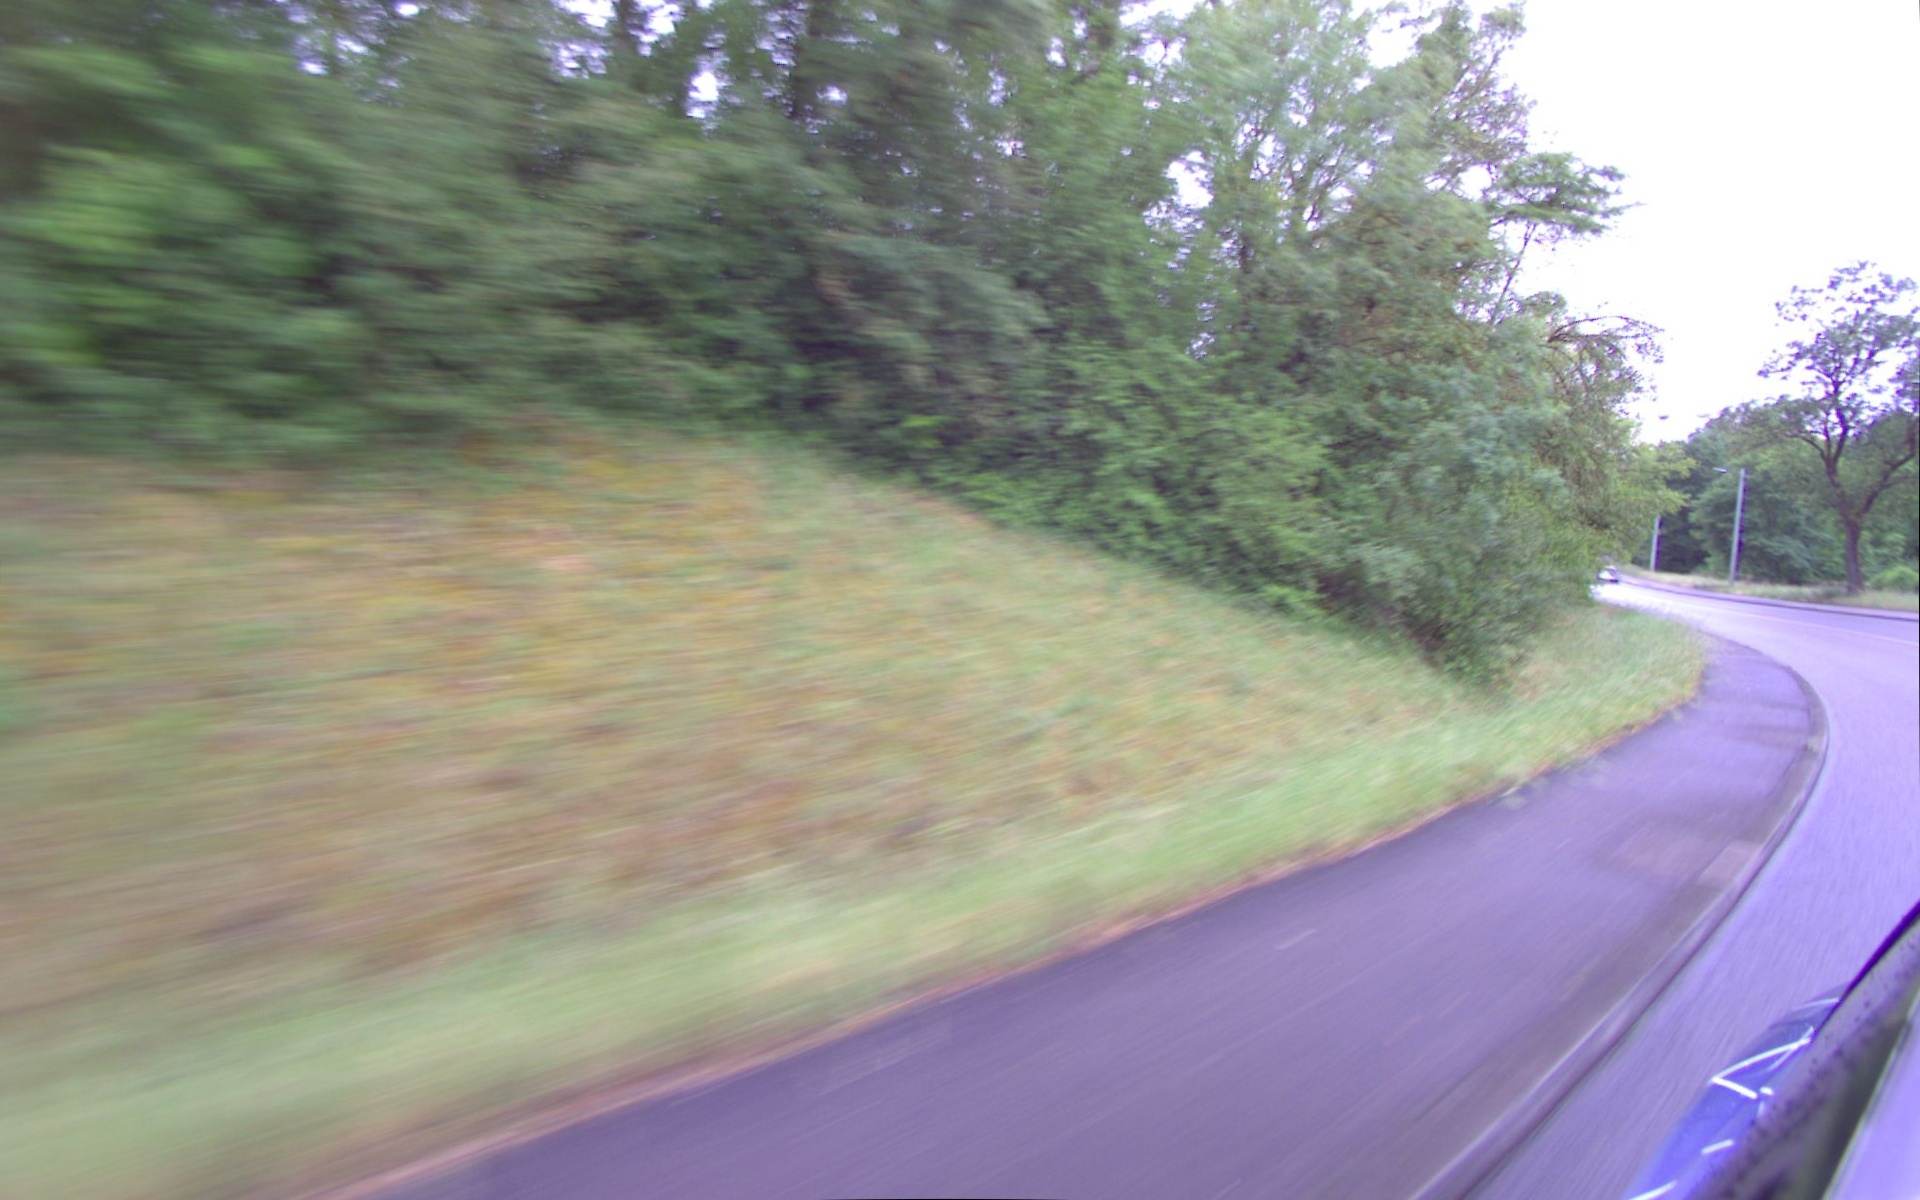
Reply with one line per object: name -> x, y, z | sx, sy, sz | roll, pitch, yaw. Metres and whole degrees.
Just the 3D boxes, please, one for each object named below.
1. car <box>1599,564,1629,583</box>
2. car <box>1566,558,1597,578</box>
car -> 59.446, -2.400, 92.049 | 1.803, 1.640, 3.964 | 3, 2, 27
car -> 52.863, -2.712, 86.114 | 1.803, 1.640, 3.964 | 3, 2, 27
